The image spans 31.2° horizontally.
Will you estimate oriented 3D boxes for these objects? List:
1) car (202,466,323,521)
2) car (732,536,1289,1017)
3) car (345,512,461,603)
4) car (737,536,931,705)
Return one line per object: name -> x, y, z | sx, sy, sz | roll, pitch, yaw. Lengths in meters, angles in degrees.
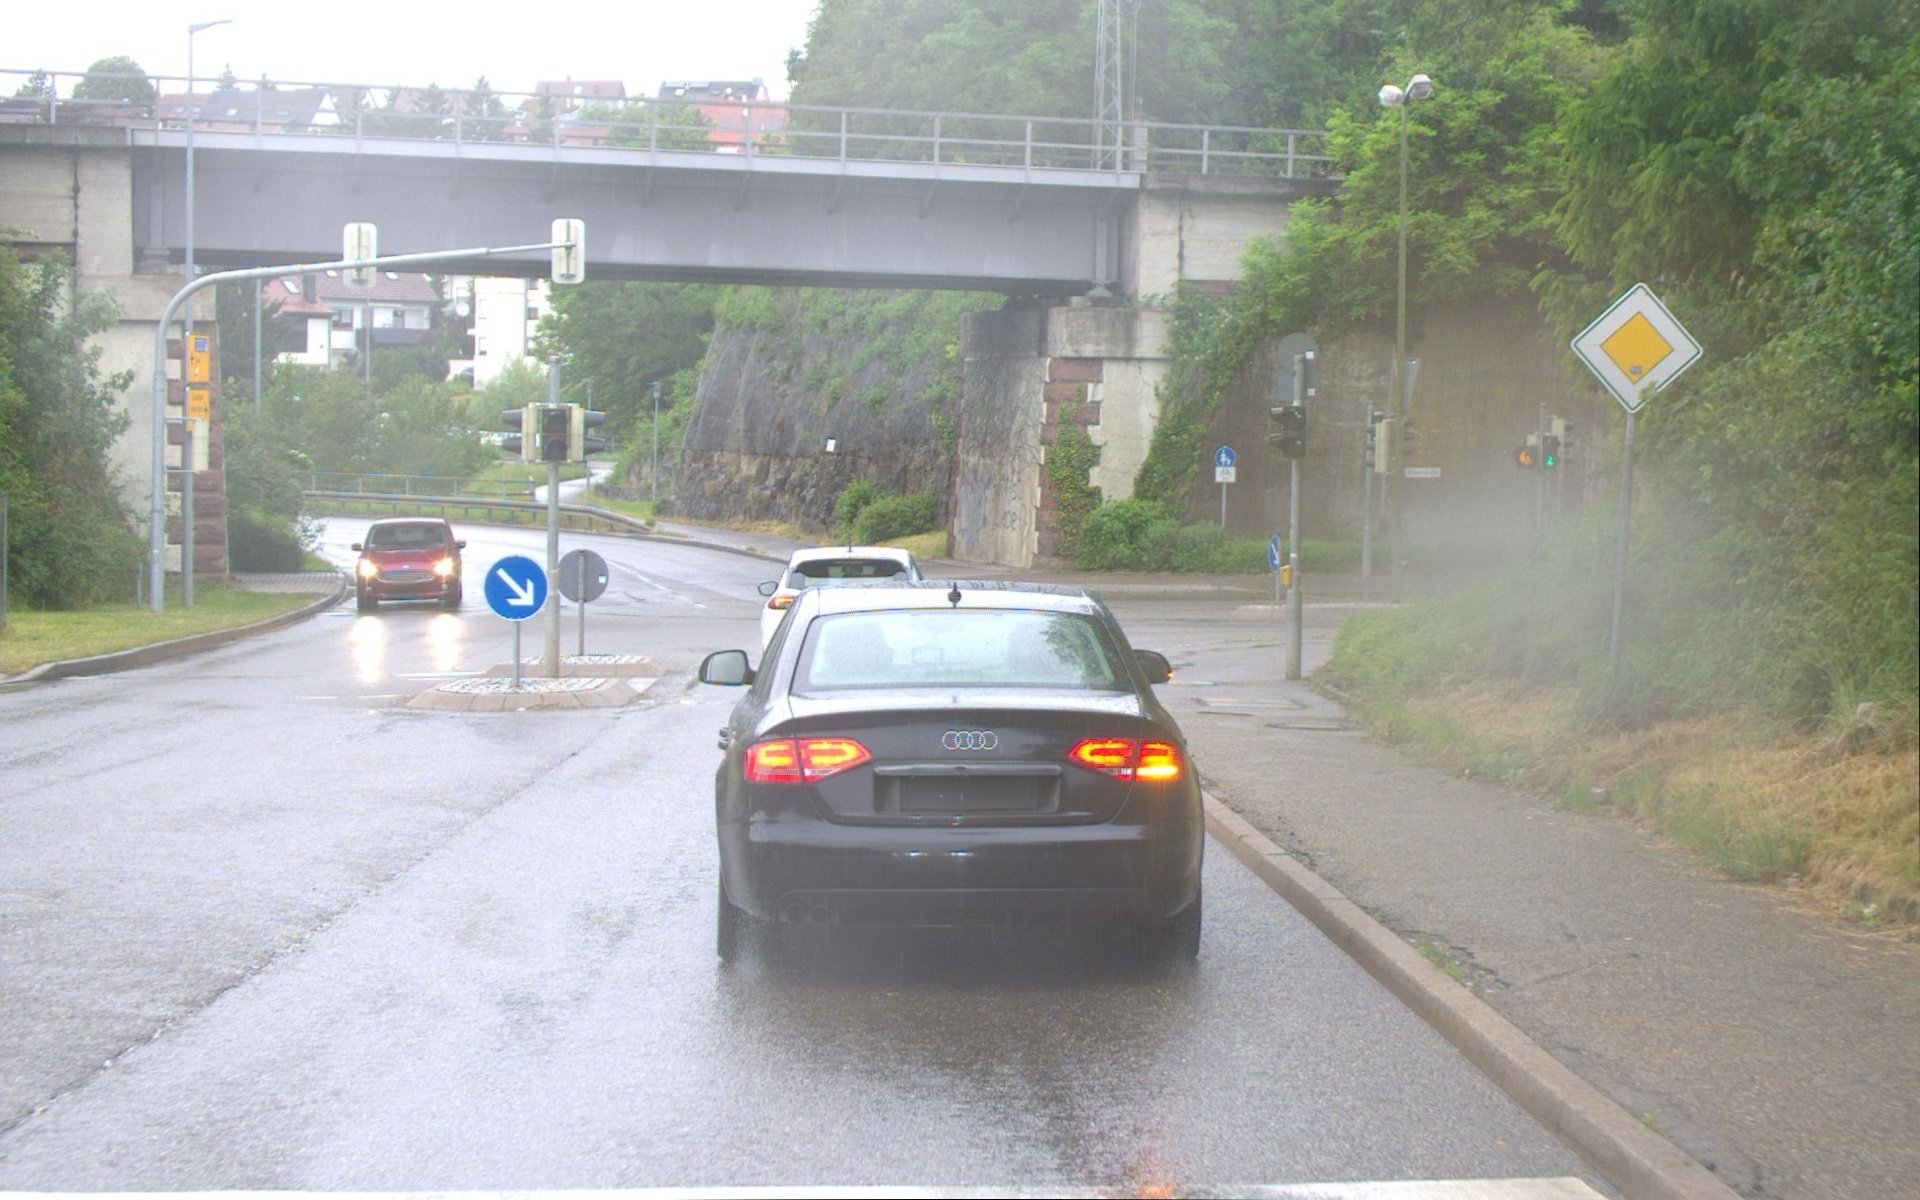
car -> -22.493, -3.447, 110.755 | 1.995, 1.590, 3.998 | -2, 5, -43
car -> 0.142, 0.600, 13.559 | 1.870, 1.611, 4.000 | 0, 0, -1
car -> -10.396, -0.809, 64.419 | 1.993, 1.622, 4.001 | -1, 1, -7
car -> -1.215, 0.200, 34.302 | 1.823, 1.579, 4.000 | 0, 0, -1
